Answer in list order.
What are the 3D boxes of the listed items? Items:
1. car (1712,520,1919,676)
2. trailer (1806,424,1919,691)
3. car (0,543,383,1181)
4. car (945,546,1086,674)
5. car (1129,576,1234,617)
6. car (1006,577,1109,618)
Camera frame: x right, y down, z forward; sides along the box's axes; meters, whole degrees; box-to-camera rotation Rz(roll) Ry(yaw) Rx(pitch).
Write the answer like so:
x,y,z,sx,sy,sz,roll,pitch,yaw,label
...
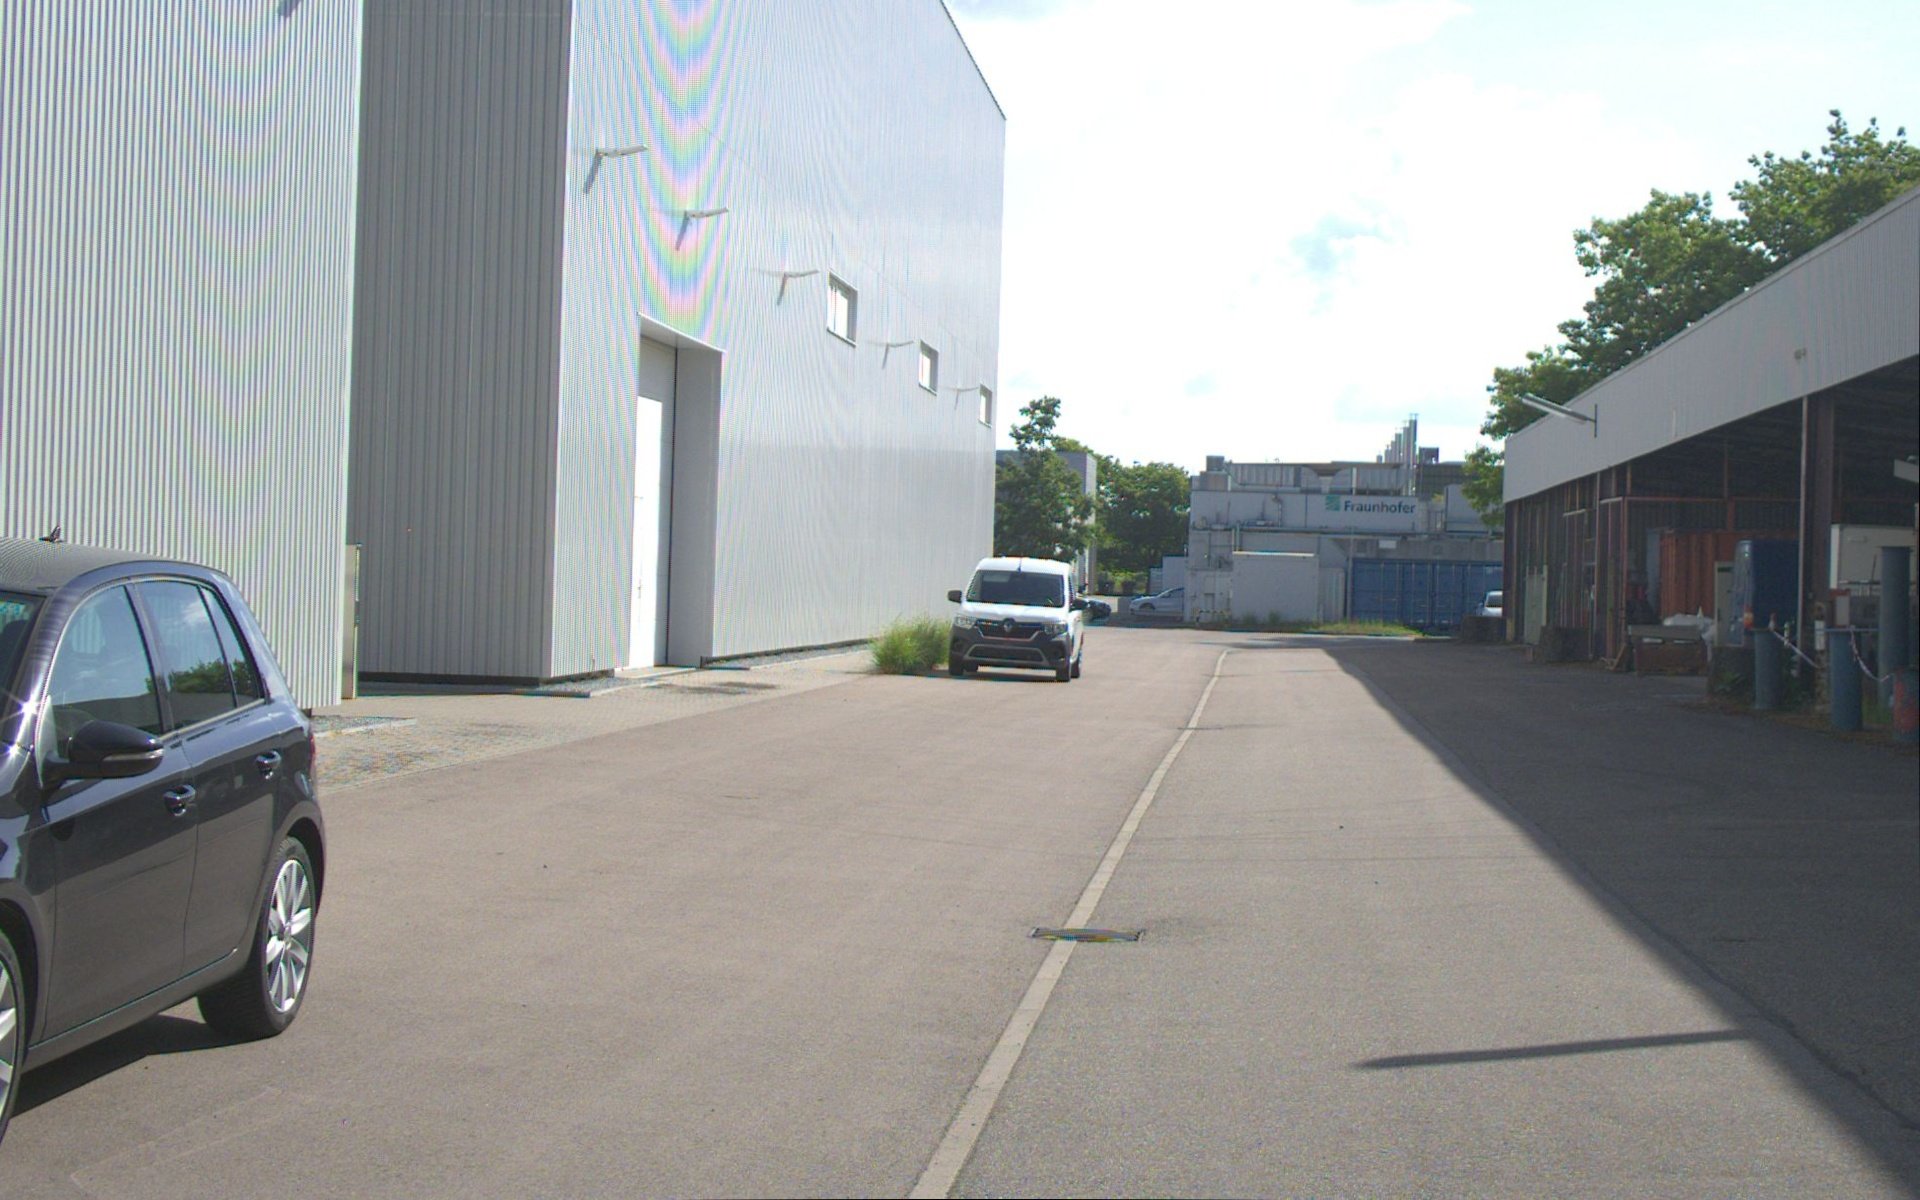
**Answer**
x,y,z,sx,sy,sz,roll,pitch,yaw,label
14.167,-0.036,55.958,3.506,2.433,2.000,1,0,6,car
14.521,-0.504,44.739,6.389,3.359,2.824,1,0,4,trailer
-2.914,0.574,9.231,1.651,1.441,3.877,5,0,5,car
0.874,0.132,51.844,1.908,1.788,4.000,2,0,3,car
8.548,-0.132,132.486,3.886,1.457,1.622,2,0,8,car
3.799,-0.087,133.896,3.885,1.457,1.623,2,0,4,car
